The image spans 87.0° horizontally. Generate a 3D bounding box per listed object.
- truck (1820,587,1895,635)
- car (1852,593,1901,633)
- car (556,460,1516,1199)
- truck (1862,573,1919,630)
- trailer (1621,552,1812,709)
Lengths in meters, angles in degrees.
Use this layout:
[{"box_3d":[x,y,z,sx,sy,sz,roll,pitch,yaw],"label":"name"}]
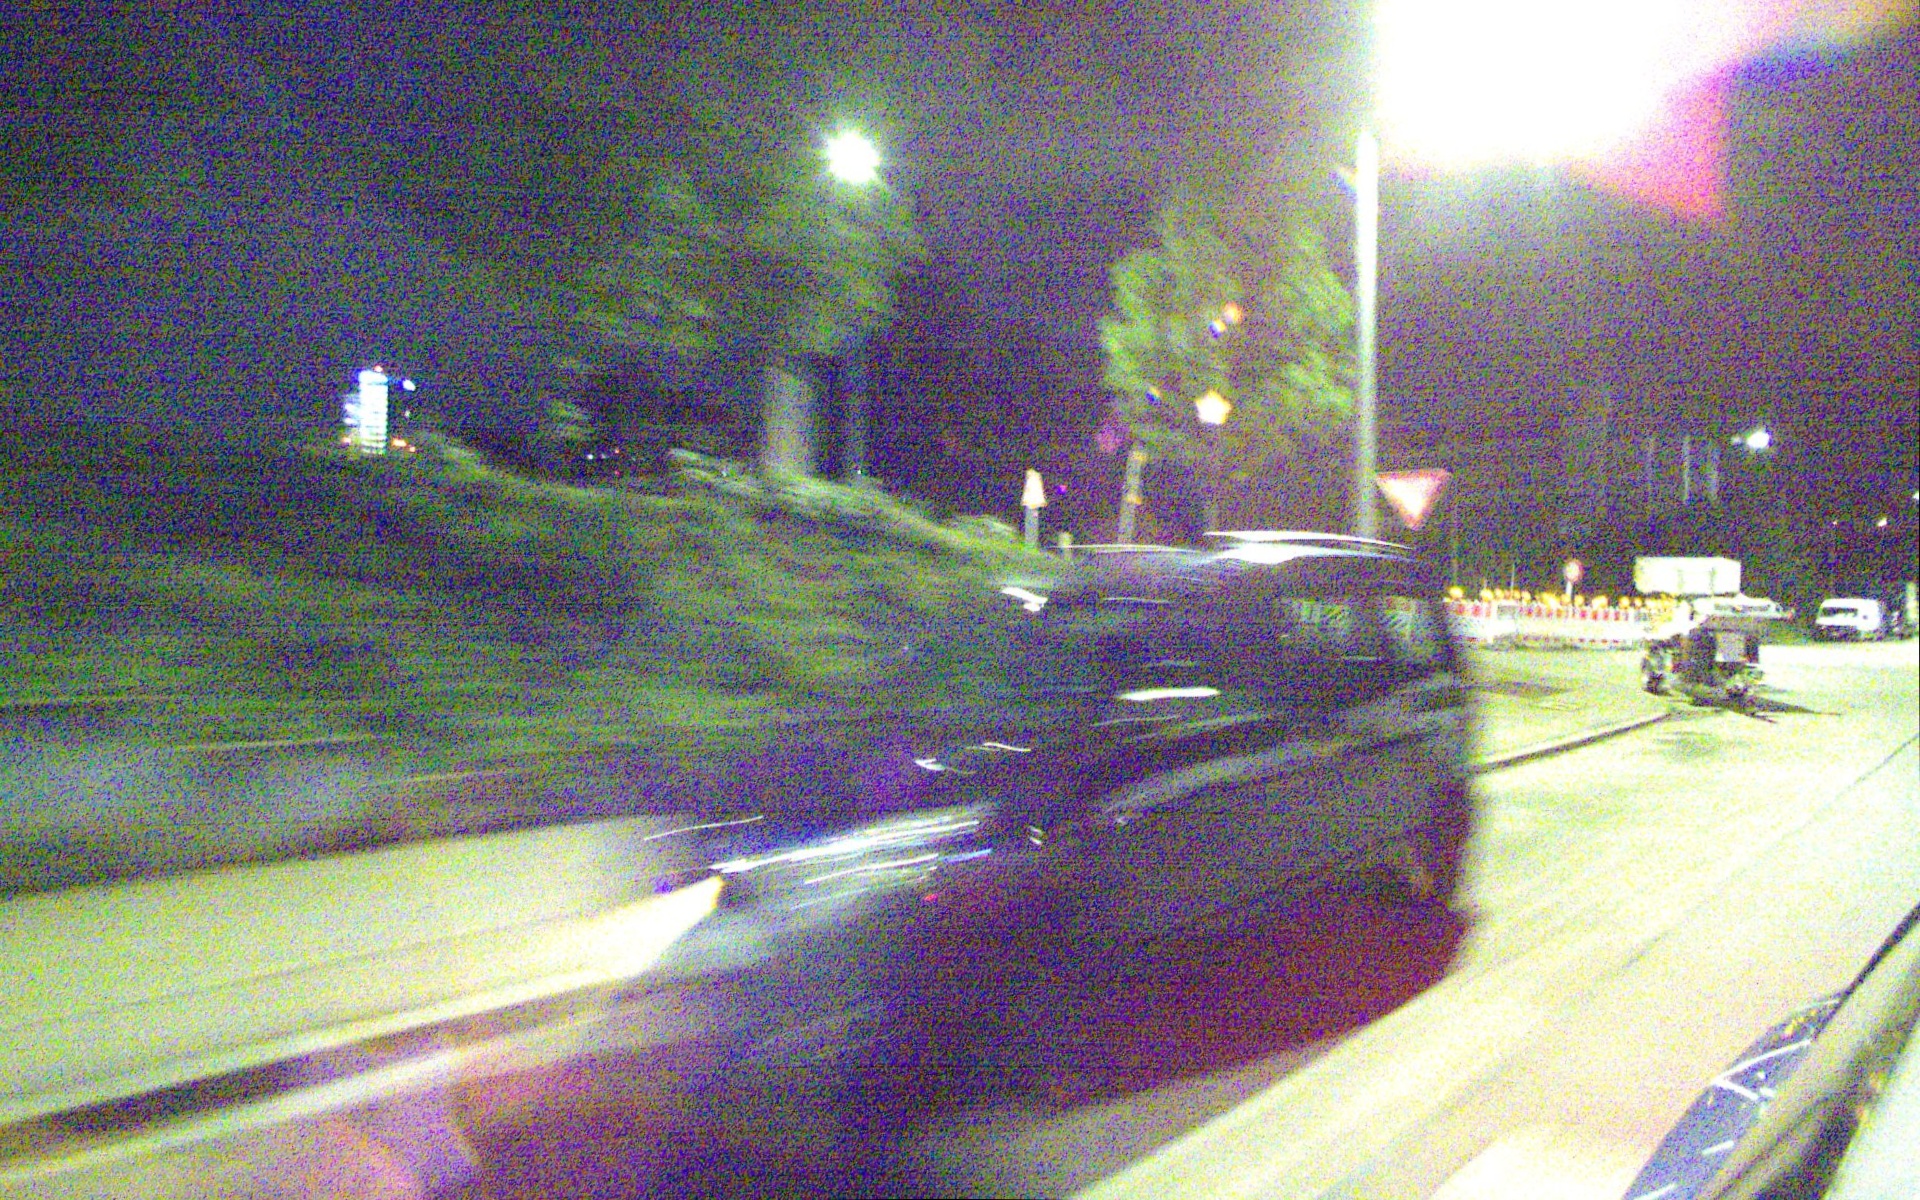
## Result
[{"box_3d":[51.518,0.591,58.054,6.293,2.602,2.404,0,1,-41],"label":"truck"},{"box_3d":[57.782,0.769,63.795,3.931,2.417,1.862,0,1,-42],"label":"car"},{"box_3d":[0.679,0.558,4.449,4.241,1.802,1.732,-1,0,-41],"label":"car"},{"box_3d":[64.458,0.056,69.454,9.441,3.668,3.051,0,1,-44],"label":"truck"},{"box_3d":[11.482,0.362,15.685,1.481,2.039,4.940,1,1,26],"label":"trailer"}]
